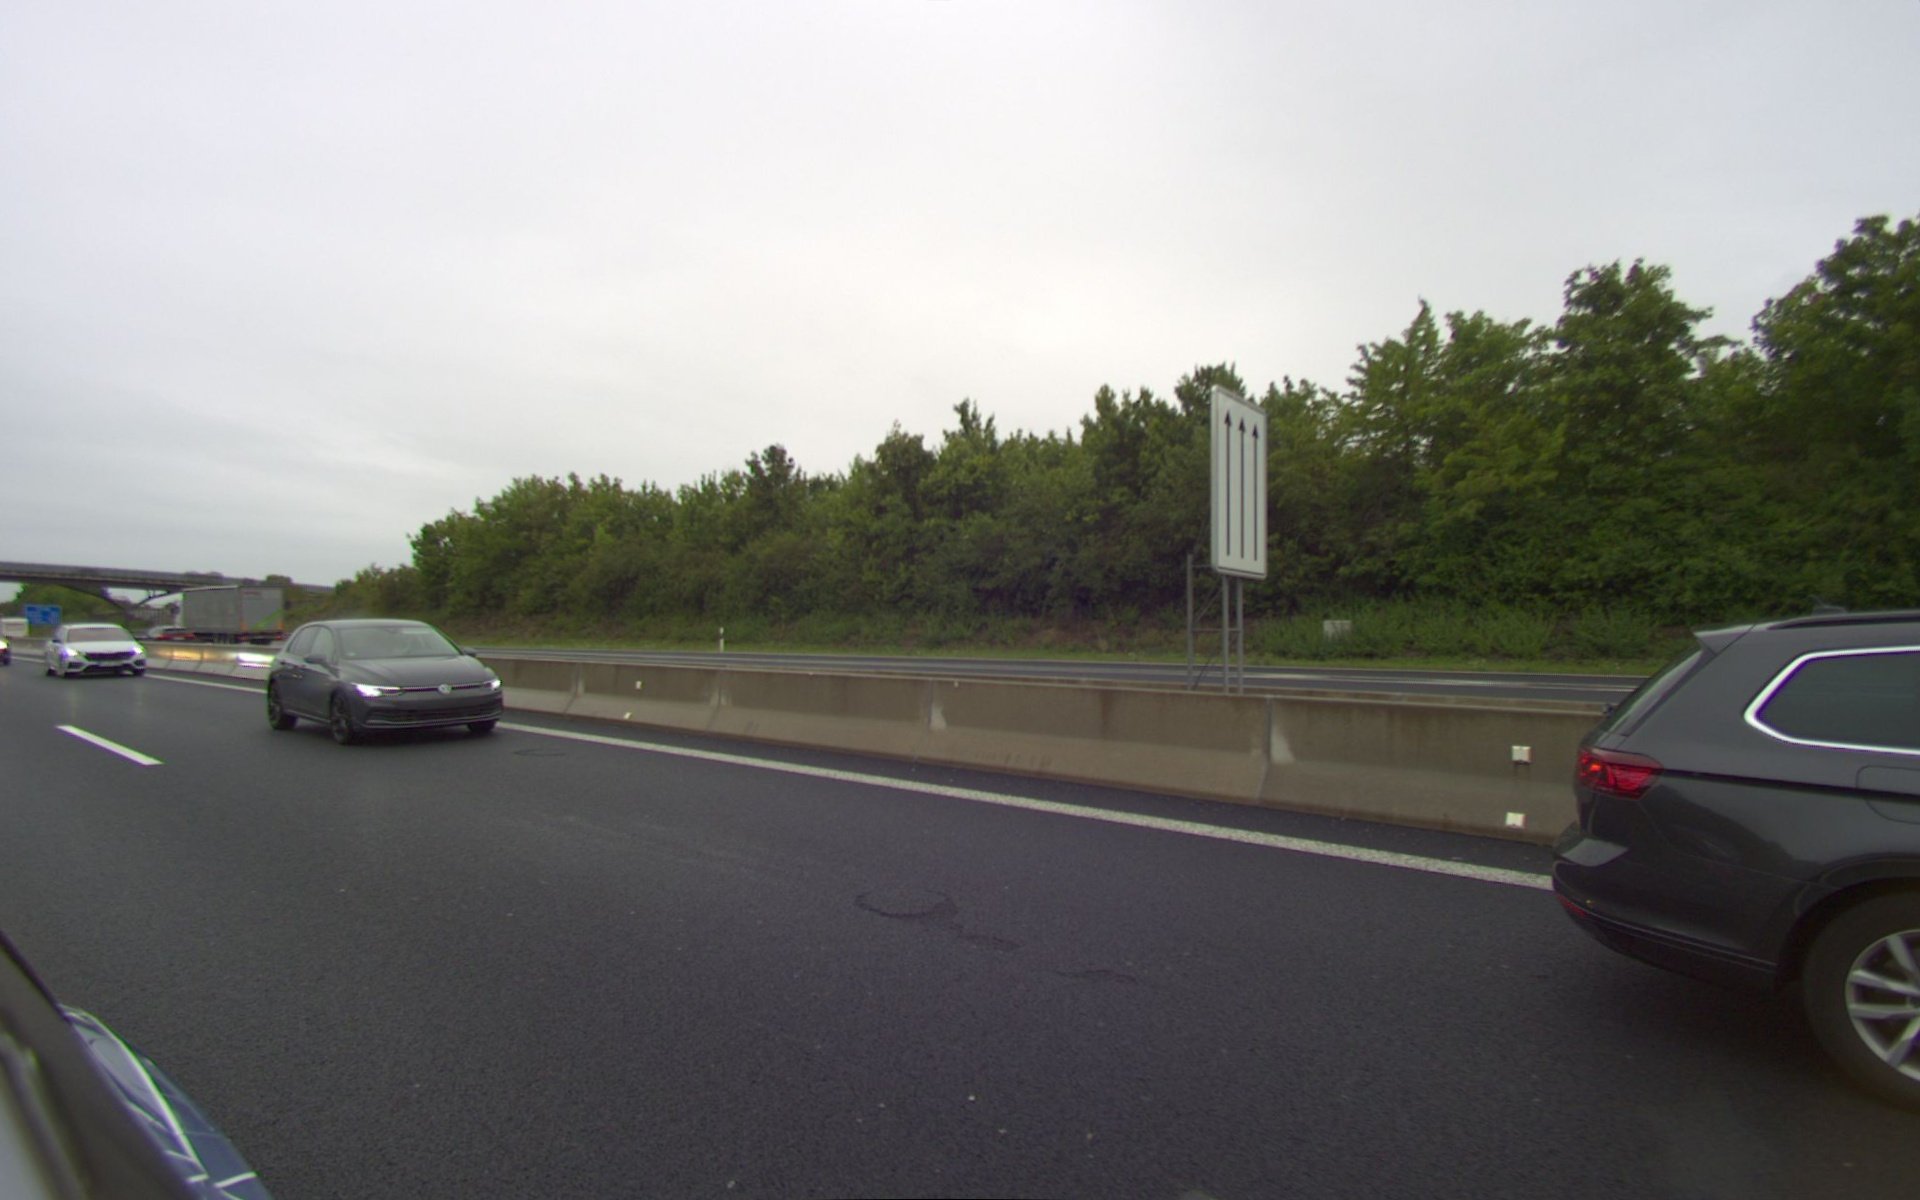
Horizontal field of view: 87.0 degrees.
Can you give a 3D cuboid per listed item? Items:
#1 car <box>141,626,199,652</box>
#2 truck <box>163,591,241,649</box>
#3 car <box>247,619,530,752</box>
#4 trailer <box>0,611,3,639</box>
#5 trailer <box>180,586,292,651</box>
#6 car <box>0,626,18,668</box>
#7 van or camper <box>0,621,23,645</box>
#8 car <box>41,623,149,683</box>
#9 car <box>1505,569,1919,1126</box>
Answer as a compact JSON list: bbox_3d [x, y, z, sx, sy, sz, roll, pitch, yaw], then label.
[{"bbox_3d":[-44.786,2.174,57.329,4.378,1.416,1.880,-2,-2,42],"label":"car"},{"bbox_3d":[-57.021,1.520,76.073,7.436,4.114,3.226,-2,-2,41],"label":"truck"},{"bbox_3d":[-7.491,0.976,13.070,4.458,1.416,1.880,-2,-2,42],"label":"car"},{"bbox_3d":[-149.414,3.888,154.776,13.513,4.114,2.761,-2,-2,40],"label":"trailer"},{"bbox_3d":[-50.652,1.340,70.533,13.837,4.114,3.226,-2,-2,41],"label":"trailer"},{"bbox_3d":[-36.142,1.721,37.158,4.112,1.518,1.880,-2,-2,42],"label":"car"},{"bbox_3d":[-102.043,3.506,108.520,5.544,2.488,1.776,-2,-2,41],"label":"van or camper"},{"bbox_3d":[-24.147,1.427,28.202,4.115,1.518,1.879,-2,-2,44],"label":"car"},{"bbox_3d":[4.283,0.652,2.527,4.849,1.508,1.880,-2,-2,41],"label":"car"}]
